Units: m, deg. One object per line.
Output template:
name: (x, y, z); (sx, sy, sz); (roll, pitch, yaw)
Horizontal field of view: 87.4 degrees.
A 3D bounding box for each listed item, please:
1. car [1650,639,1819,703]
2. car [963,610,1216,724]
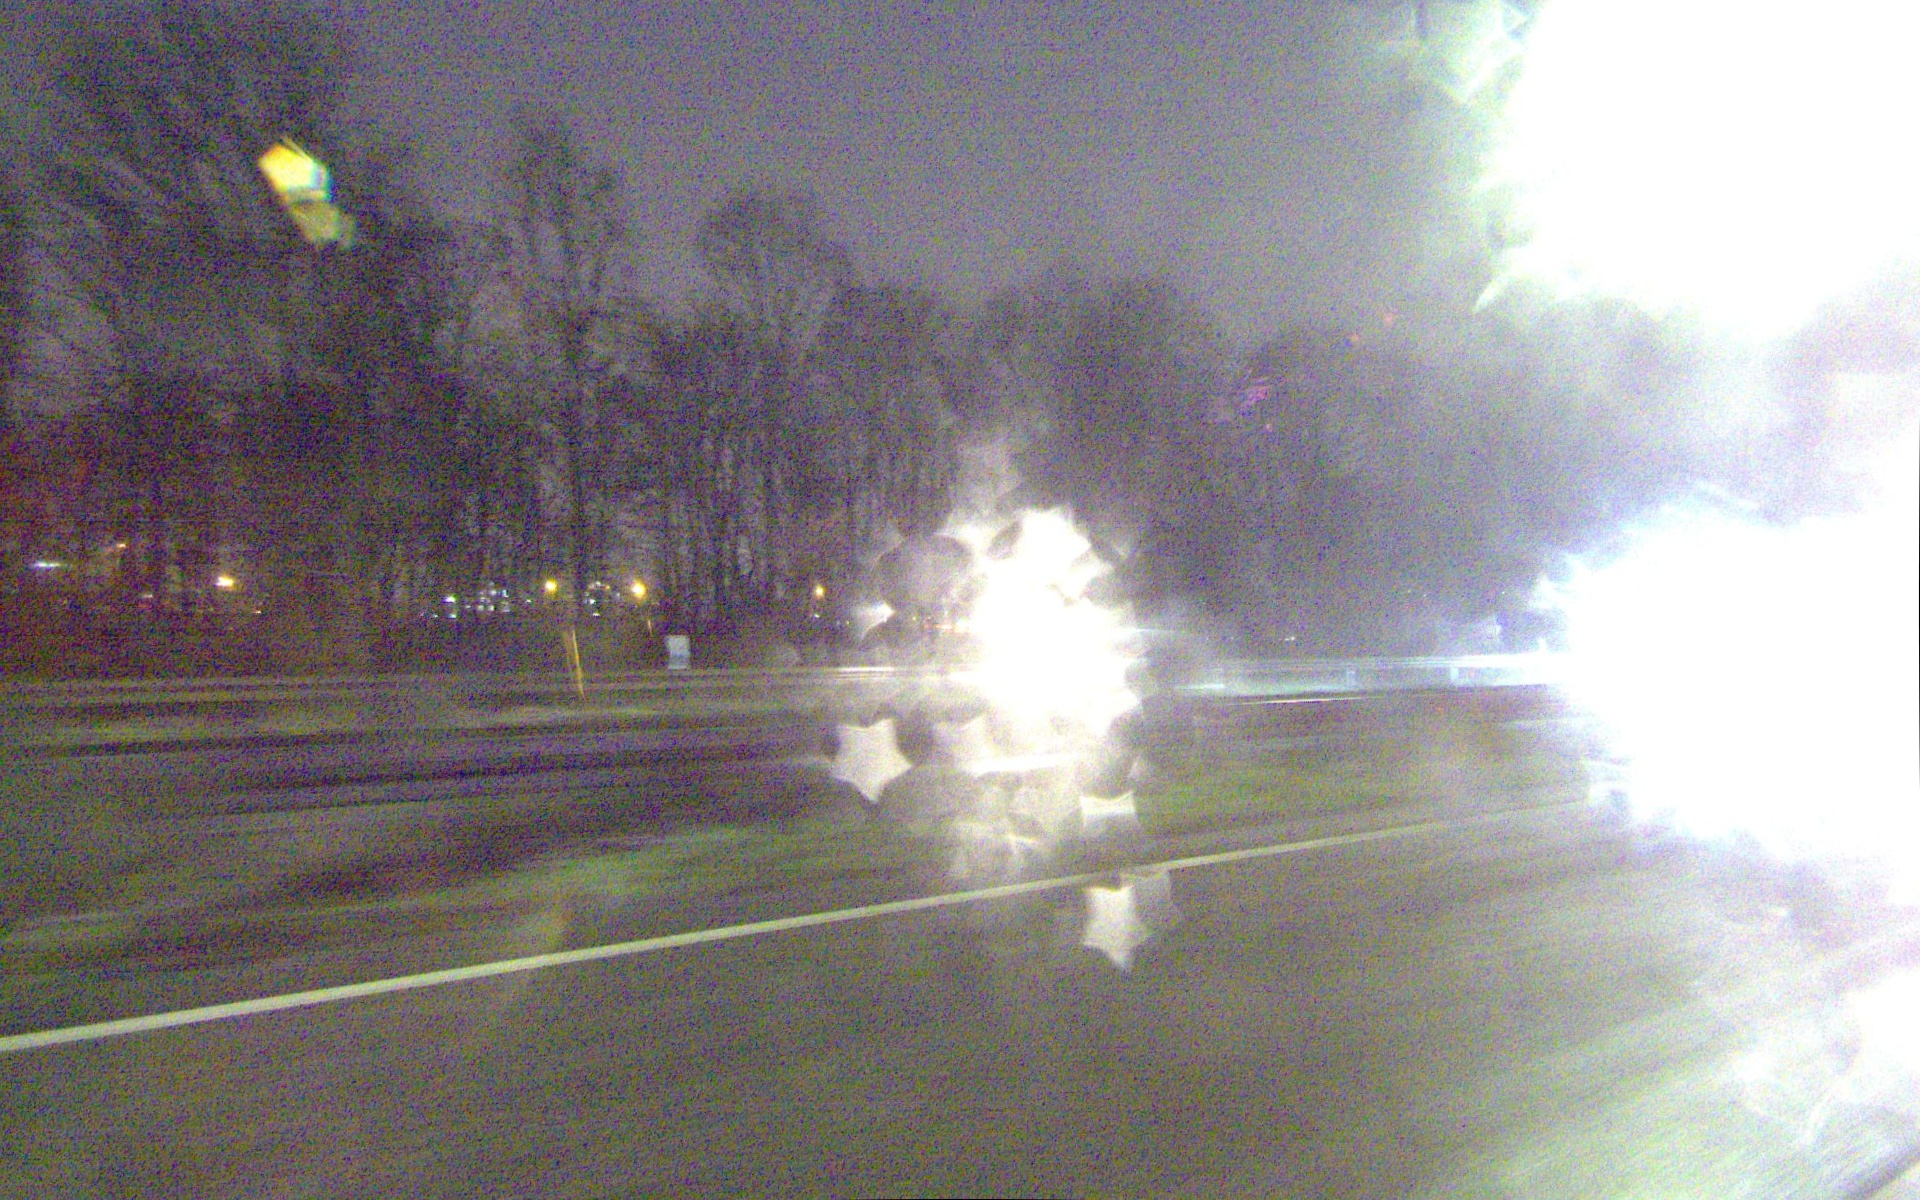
car: (21.551, 1.952, 27.908); (4.840, 1.522, 2.013); (3, 1, -30)
car: (2.108, 1.052, 16.105); (3.788, 1.572, 1.593); (3, 1, -30)
